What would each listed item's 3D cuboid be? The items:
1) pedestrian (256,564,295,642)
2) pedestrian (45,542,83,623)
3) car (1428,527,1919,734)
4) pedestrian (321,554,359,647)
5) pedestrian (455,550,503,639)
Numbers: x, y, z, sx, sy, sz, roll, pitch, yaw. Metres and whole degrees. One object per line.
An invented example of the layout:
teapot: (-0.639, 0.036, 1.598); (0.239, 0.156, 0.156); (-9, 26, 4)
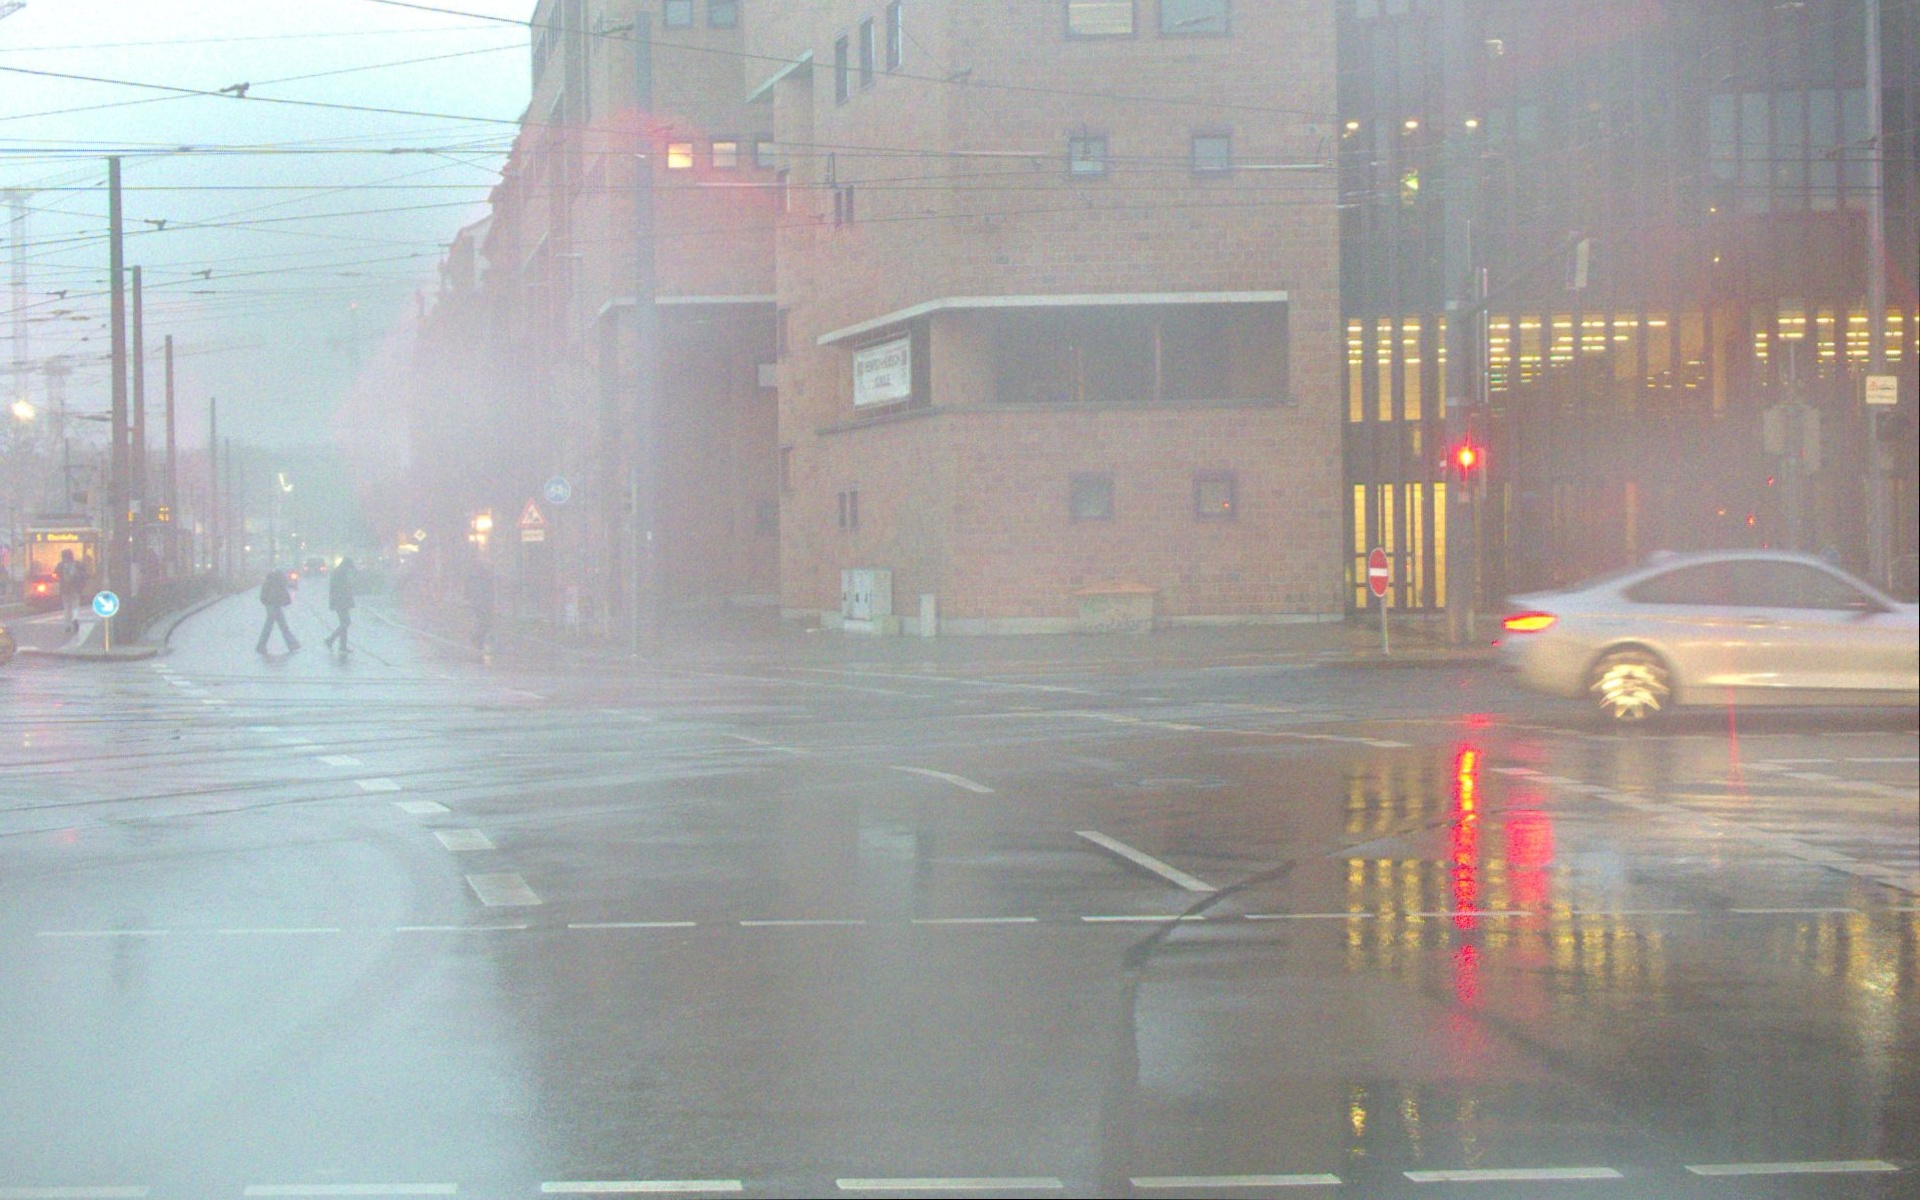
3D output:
pedestrian: (-13.156, 0.058, 66.093); (0.700, 1.479, 0.576); (-1, 1, -10)
pedestrian: (-19.222, -0.388, 73.771); (0.693, 1.718, 0.766); (-1, 1, -11)
car: (6.394, 0.221, 28.197); (4.989, 1.602, 2.253); (-1, 1, 9)
pedestrian: (-11.638, 0.008, 64.575); (0.666, 1.719, 0.488); (-1, 1, -10)
pedestrian: (-9.212, -0.109, 65.830); (0.843, 1.681, 0.649); (-1, 1, -10)
